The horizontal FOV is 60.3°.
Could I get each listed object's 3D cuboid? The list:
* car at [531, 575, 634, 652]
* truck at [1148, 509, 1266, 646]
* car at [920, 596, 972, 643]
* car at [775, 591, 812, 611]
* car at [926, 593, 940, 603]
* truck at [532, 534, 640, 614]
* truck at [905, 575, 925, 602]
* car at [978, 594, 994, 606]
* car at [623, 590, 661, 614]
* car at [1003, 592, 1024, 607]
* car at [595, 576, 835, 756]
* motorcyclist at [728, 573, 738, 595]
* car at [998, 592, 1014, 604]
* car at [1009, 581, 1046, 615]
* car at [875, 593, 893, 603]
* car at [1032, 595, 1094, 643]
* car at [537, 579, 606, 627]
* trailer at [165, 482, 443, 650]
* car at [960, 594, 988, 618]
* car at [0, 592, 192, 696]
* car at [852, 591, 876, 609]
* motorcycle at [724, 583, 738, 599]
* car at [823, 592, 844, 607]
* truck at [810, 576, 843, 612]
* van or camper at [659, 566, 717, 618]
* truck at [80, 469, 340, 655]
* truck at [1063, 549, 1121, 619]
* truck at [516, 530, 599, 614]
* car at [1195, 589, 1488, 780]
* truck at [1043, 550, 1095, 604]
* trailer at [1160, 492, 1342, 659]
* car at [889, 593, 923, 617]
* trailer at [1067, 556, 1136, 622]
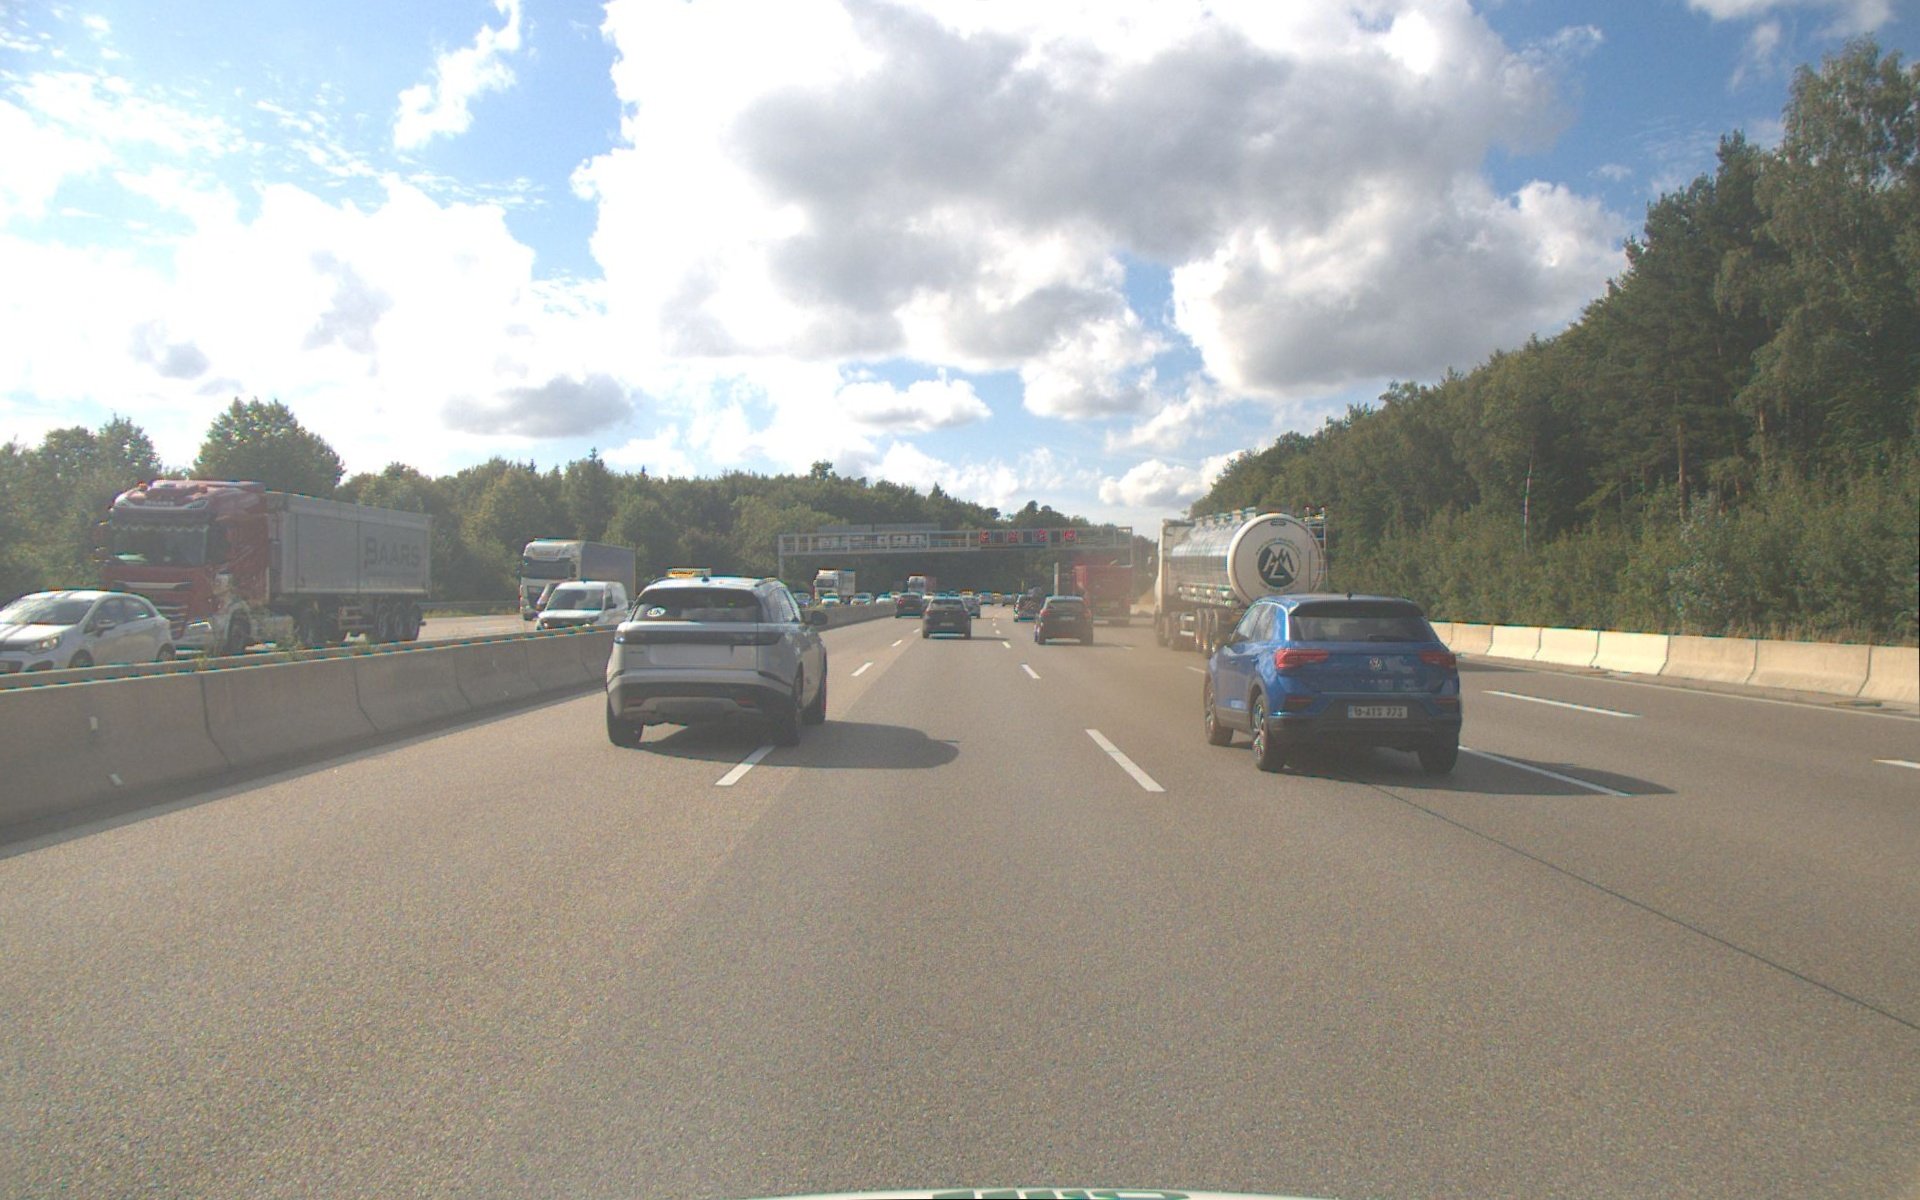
[{"bbox_3d":[-9.991,0.338,44.105,1.812,1.911,4.614,-1,0,-2],"label":"car"},{"bbox_3d":[7.376,-0.651,50.037,2.595,3.890,6.081,0,0,-1],"label":"truck"},{"bbox_3d":[-0.481,0.664,58.692,1.785,1.573,4.000,0,0,0],"label":"car"},{"bbox_3d":[-12.685,0.077,126.223,2.126,1.496,4.787,0,0,2],"label":"car"},{"bbox_3d":[-4.011,-0.298,243.297,1.773,1.325,4.047,0,0,2],"label":"car"},{"bbox_3d":[-20.702,-1.373,92.575,2.761,4.166,13.846,0,0,1],"label":"truck"},{"bbox_3d":[-7.025,-1.801,257.659,2.681,4.178,5.767,0,0,3],"label":"truck"},{"bbox_3d":[3.543,-0.022,225.451,2.034,1.483,4.000,-1,0,0],"label":"car"},{"bbox_3d":[-20.783,0.113,108.158,1.662,1.496,4.022,0,0,1],"label":"car"},{"bbox_3d":[5.623,-0.077,175.290,1.903,1.483,3.998,-1,0,-3],"label":"car"},{"bbox_3d":[-2.476,0.601,18.004,1.966,1.644,5.299,1,0,-2],"label":"car"},{"bbox_3d":[-15.698,-1.106,114.423,0.590,1.502,0.532,1,-1,2],"label":"motorcyclist"},{"bbox_3d":[5.971,-0.211,214.615,2.034,1.483,4.001,-1,0,2],"label":"car"},{"bbox_3d":[3.922,-0.107,96.402,1.855,1.889,4.099,1,0,-2],"label":"car"},{"bbox_3d":[-8.855,-0.218,192.961,1.773,1.181,4.516,0,0,2],"label":"car"},{"bbox_3d":[3.283,0.582,53.283,1.785,1.483,4.000,0,0,0],"label":"car"},{"bbox_3d":[-16.650,0.127,71.154,1.809,1.974,5.033,0,0,-1],"label":"car"},{"bbox_3d":[-17.143,-0.816,44.435,2.906,3.925,11.281,0,0,0],"label":"trailer"},{"bbox_3d":[0.928,0.392,109.120,1.785,1.483,4.000,1,0,0],"label":"car"},{"bbox_3d":[-13.233,0.592,24.779,1.570,1.427,4.000,0,0,0],"label":"car"},{"bbox_3d":[-8.332,-0.017,144.136,1.825,1.579,4.662,0,0,0],"label":"car"},{"bbox_3d":[-15.732,-0.613,113.798,0.597,1.058,2.175,0,0,2],"label":"motorcycle"},{"bbox_3d":[-12.260,-0.023,160.590,1.733,1.419,4.691,0,0,0],"label":"car"},{"bbox_3d":[-15.805,-0.757,196.443,3.249,4.178,6.226,0,0,1],"label":"truck"},{"bbox_3d":[-16.343,-0.483,99.629,2.325,2.942,6.507,-1,0,1],"label":"van or camper"},{"bbox_3d":[-17.164,-0.810,38.425,2.906,3.925,6.765,0,0,0],"label":"truck"},{"bbox_3d":[7.345,-0.919,92.656,2.655,3.783,5.816,1,1,-1],"label":"truck"},{"bbox_3d":[-20.767,-1.407,85.616,2.761,4.166,6.062,0,0,0],"label":"truck"},{"bbox_3d":[3.485,0.687,15.956,1.737,1.557,4.457,1,0,-1],"label":"car"},{"bbox_3d":[8.362,-1.741,128.070,3.055,4.003,10.407,0,0,-2],"label":"truck"},{"bbox_3d":[7.415,-0.601,44.054,2.595,3.833,11.858,0,0,-1],"label":"trailer"},{"bbox_3d":[-3.474,0.295,106.654,1.902,1.483,4.001,-1,0,1],"label":"car"},{"bbox_3d":[7.398,-0.596,87.729,2.655,3.287,9.731,1,1,-1],"label":"trailer"}]
